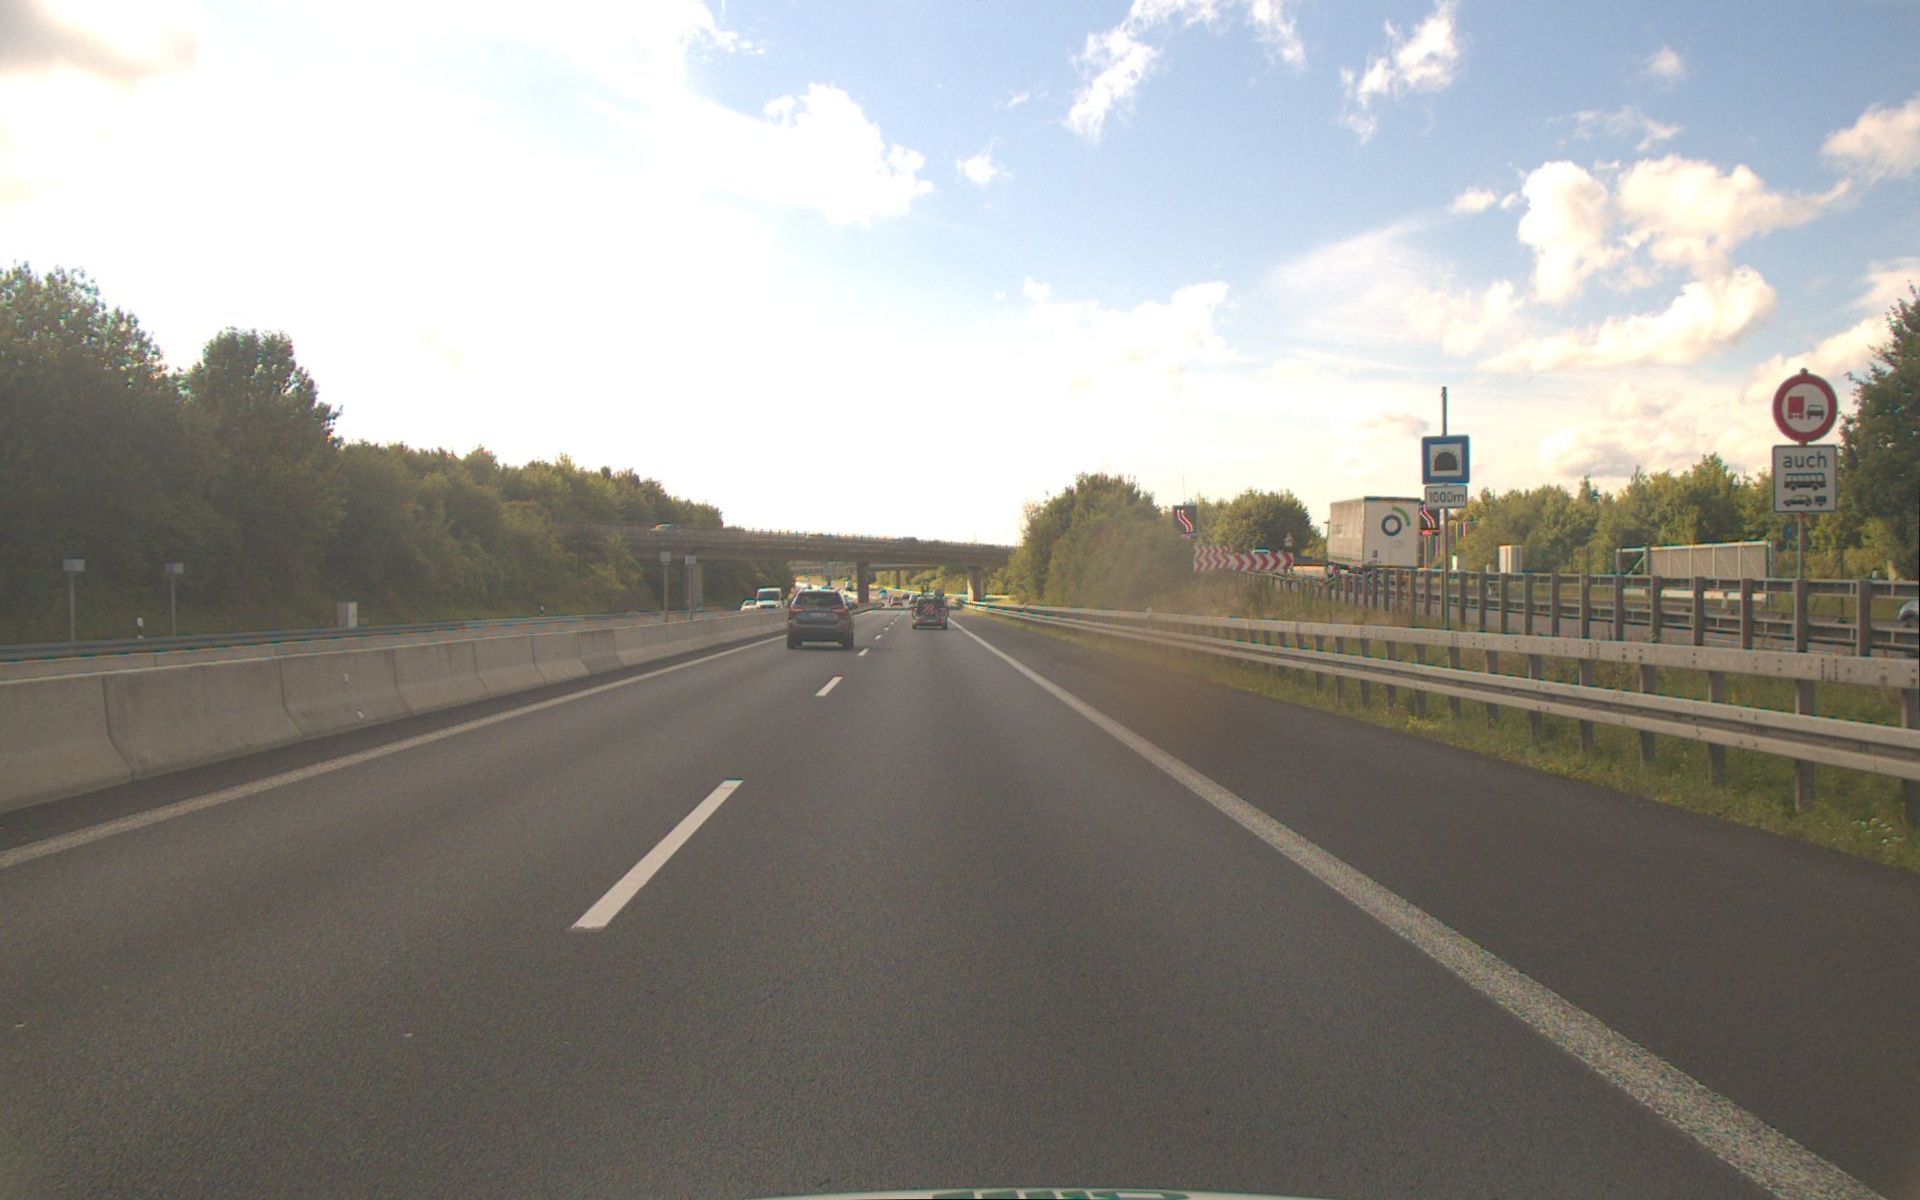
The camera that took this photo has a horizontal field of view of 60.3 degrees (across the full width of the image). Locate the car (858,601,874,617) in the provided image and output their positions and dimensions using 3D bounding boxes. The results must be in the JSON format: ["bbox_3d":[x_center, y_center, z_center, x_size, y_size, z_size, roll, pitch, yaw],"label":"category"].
[{"bbox_3d":[-12.626,1.155,221.443,1.953,2.049,3.999,-2,0,-2],"label":"car"}]

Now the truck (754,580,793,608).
[{"bbox_3d":[-14.627,-0.443,130.131,2.328,2.049,7.434,-2,0,-2],"label":"truck"}]

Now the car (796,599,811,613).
[{"bbox_3d":[-22.858,0.882,241.605,1.953,1.929,4.820,-2,0,-2],"label":"car"}]

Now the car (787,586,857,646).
[{"bbox_3d":[-4.032,0.446,48.821,1.714,1.659,3.608,-2,0,0],"label":"car"}]

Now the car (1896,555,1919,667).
[{"bbox_3d":[16.034,0.147,24.523,1.953,1.747,3.999,-2,0,-1],"label":"car"}]

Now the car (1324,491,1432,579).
[{"bbox_3d":[19.550,-2.946,77.841,3.501,3.741,7.552,-2,0,3],"label":"car"}]

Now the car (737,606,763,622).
[{"bbox_3d":[-20.034,1.345,157.952,1.953,1.461,4.723,-2,0,-2],"label":"car"}]

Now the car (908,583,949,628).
[{"bbox_3d":[-1.568,0.271,82.280,1.953,2.117,3.999,-2,0,-1],"label":"car"}]
